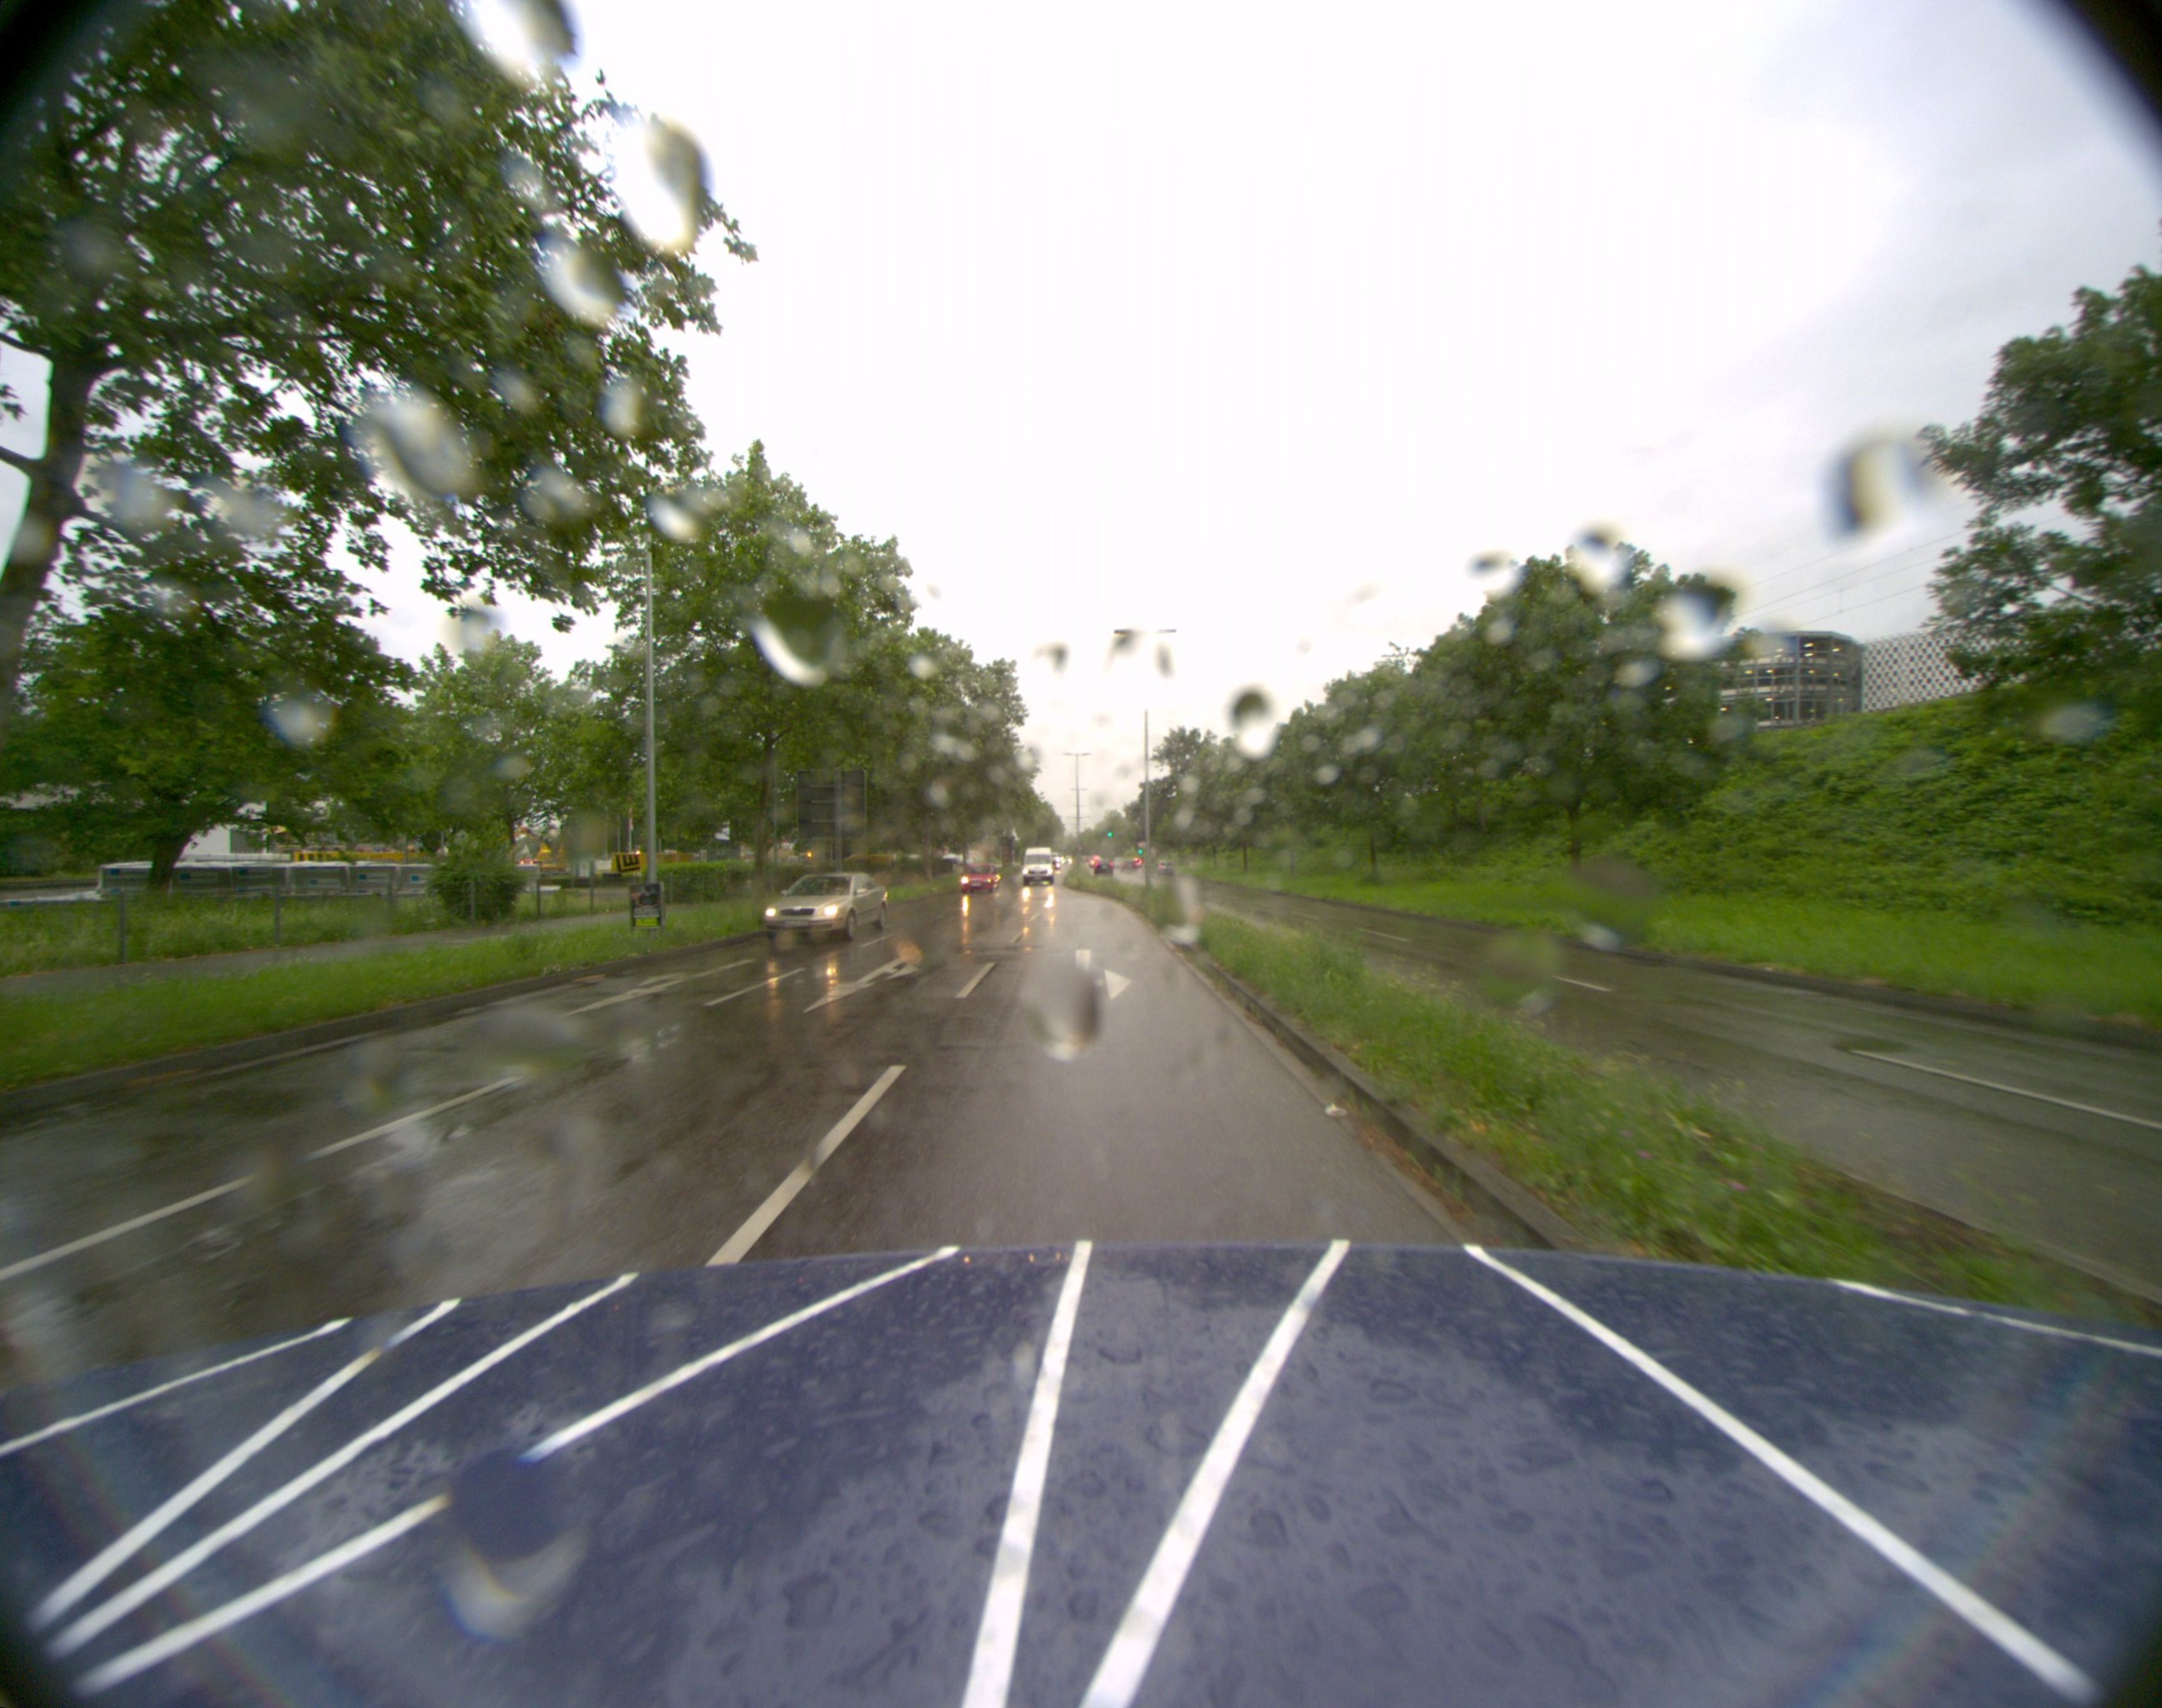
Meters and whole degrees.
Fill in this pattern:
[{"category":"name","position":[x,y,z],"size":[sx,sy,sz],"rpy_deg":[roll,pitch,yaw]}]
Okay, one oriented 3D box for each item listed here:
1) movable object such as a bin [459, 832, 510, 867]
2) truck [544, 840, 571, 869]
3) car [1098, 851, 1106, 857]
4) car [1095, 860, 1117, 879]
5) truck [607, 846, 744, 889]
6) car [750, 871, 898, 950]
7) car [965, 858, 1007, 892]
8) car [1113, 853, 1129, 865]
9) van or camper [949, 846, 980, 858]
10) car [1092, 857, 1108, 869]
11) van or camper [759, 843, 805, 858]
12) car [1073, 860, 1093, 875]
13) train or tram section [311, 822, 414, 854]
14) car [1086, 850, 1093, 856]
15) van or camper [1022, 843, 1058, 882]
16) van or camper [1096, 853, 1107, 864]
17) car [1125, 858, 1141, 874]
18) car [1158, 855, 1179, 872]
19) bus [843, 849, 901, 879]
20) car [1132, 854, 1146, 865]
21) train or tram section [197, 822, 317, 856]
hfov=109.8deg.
[{"category":"movable object such as a bin","position":[-63.829,-0.481,81.356],"size":[3.602,3.605,3.326],"rpy_deg":[0,1,35]},{"category":"truck","position":[-63.801,0.029,92.523],"size":[2.501,3.326,9.444],"rpy_deg":[-3,2,-35]},{"category":"car","position":[5.332,0.019,196.856],"size":[1.998,1.678,4.709],"rpy_deg":[2,0,1]},{"category":"car","position":[2.337,1.461,72.303],"size":[1.829,1.566,4.358],"rpy_deg":[3,1,-1]},{"category":"truck","position":[-33.137,1.002,62.337],"size":[9.517,3.015,3.073],"rpy_deg":[-3,2,-36]},{"category":"car","position":[-5.634,1.175,17.264],"size":[1.807,1.422,4.386],"rpy_deg":[-1,0,1]},{"category":"car","position":[-5.250,1.125,42.638],"size":[1.699,1.759,4.558],"rpy_deg":[-1,0,1]},{"category":"car","position":[5.594,0.702,107.209],"size":[1.913,1.565,4.709],"rpy_deg":[2,0,1]},{"category":"van or camper","position":[-19.969,-0.324,130.294],"size":[4.918,2.076,1.863],"rpy_deg":[0,1,-38]},{"category":"car","position":[2.613,1.229,106.375],"size":[1.914,1.565,4.707],"rpy_deg":[1,0,-3]},{"category":"van or camper","position":[-65.924,-0.811,167.692],"size":[8.995,3.140,2.979],"rpy_deg":[-3,2,-35]},{"category":"car","position":[0.170,1.597,89.516],"size":[1.914,1.565,4.706],"rpy_deg":[1,0,-6]},{"category":"train or tram section","position":[-83.539,-1.941,88.584],"size":[8.386,3.500,2.394],"rpy_deg":[-3,2,-38]},{"category":"car","position":[2.731,-0.229,236.603],"size":[1.998,1.678,4.709],"rpy_deg":[2,0,1]},{"category":"van or camper","position":[-2.825,0.558,53.514],"size":[2.100,2.579,4.775],"rpy_deg":[-2,0,1]},{"category":"van or camper","position":[3.338,0.723,124.300],"size":[1.733,1.732,3.999],"rpy_deg":[2,0,-1]},{"category":"car","position":[5.954,1.354,86.940],"size":[1.724,1.609,4.347],"rpy_deg":[0,1,6]},{"category":"car","position":[8.801,0.953,76.672],"size":[1.700,1.608,3.847],"rpy_deg":[-1,0,1]},{"category":"bus","position":[-19.599,0.915,71.375],"size":[4.804,2.632,2.000],"rpy_deg":[-1,1,1]},{"category":"car","position":[8.934,0.835,116.472],"size":[1.840,1.493,4.439],"rpy_deg":[1,0,1]},{"category":"train or tram section","position":[-90.154,-1.671,83.376],"size":[8.546,3.500,2.394],"rpy_deg":[-3,2,-38]}]
